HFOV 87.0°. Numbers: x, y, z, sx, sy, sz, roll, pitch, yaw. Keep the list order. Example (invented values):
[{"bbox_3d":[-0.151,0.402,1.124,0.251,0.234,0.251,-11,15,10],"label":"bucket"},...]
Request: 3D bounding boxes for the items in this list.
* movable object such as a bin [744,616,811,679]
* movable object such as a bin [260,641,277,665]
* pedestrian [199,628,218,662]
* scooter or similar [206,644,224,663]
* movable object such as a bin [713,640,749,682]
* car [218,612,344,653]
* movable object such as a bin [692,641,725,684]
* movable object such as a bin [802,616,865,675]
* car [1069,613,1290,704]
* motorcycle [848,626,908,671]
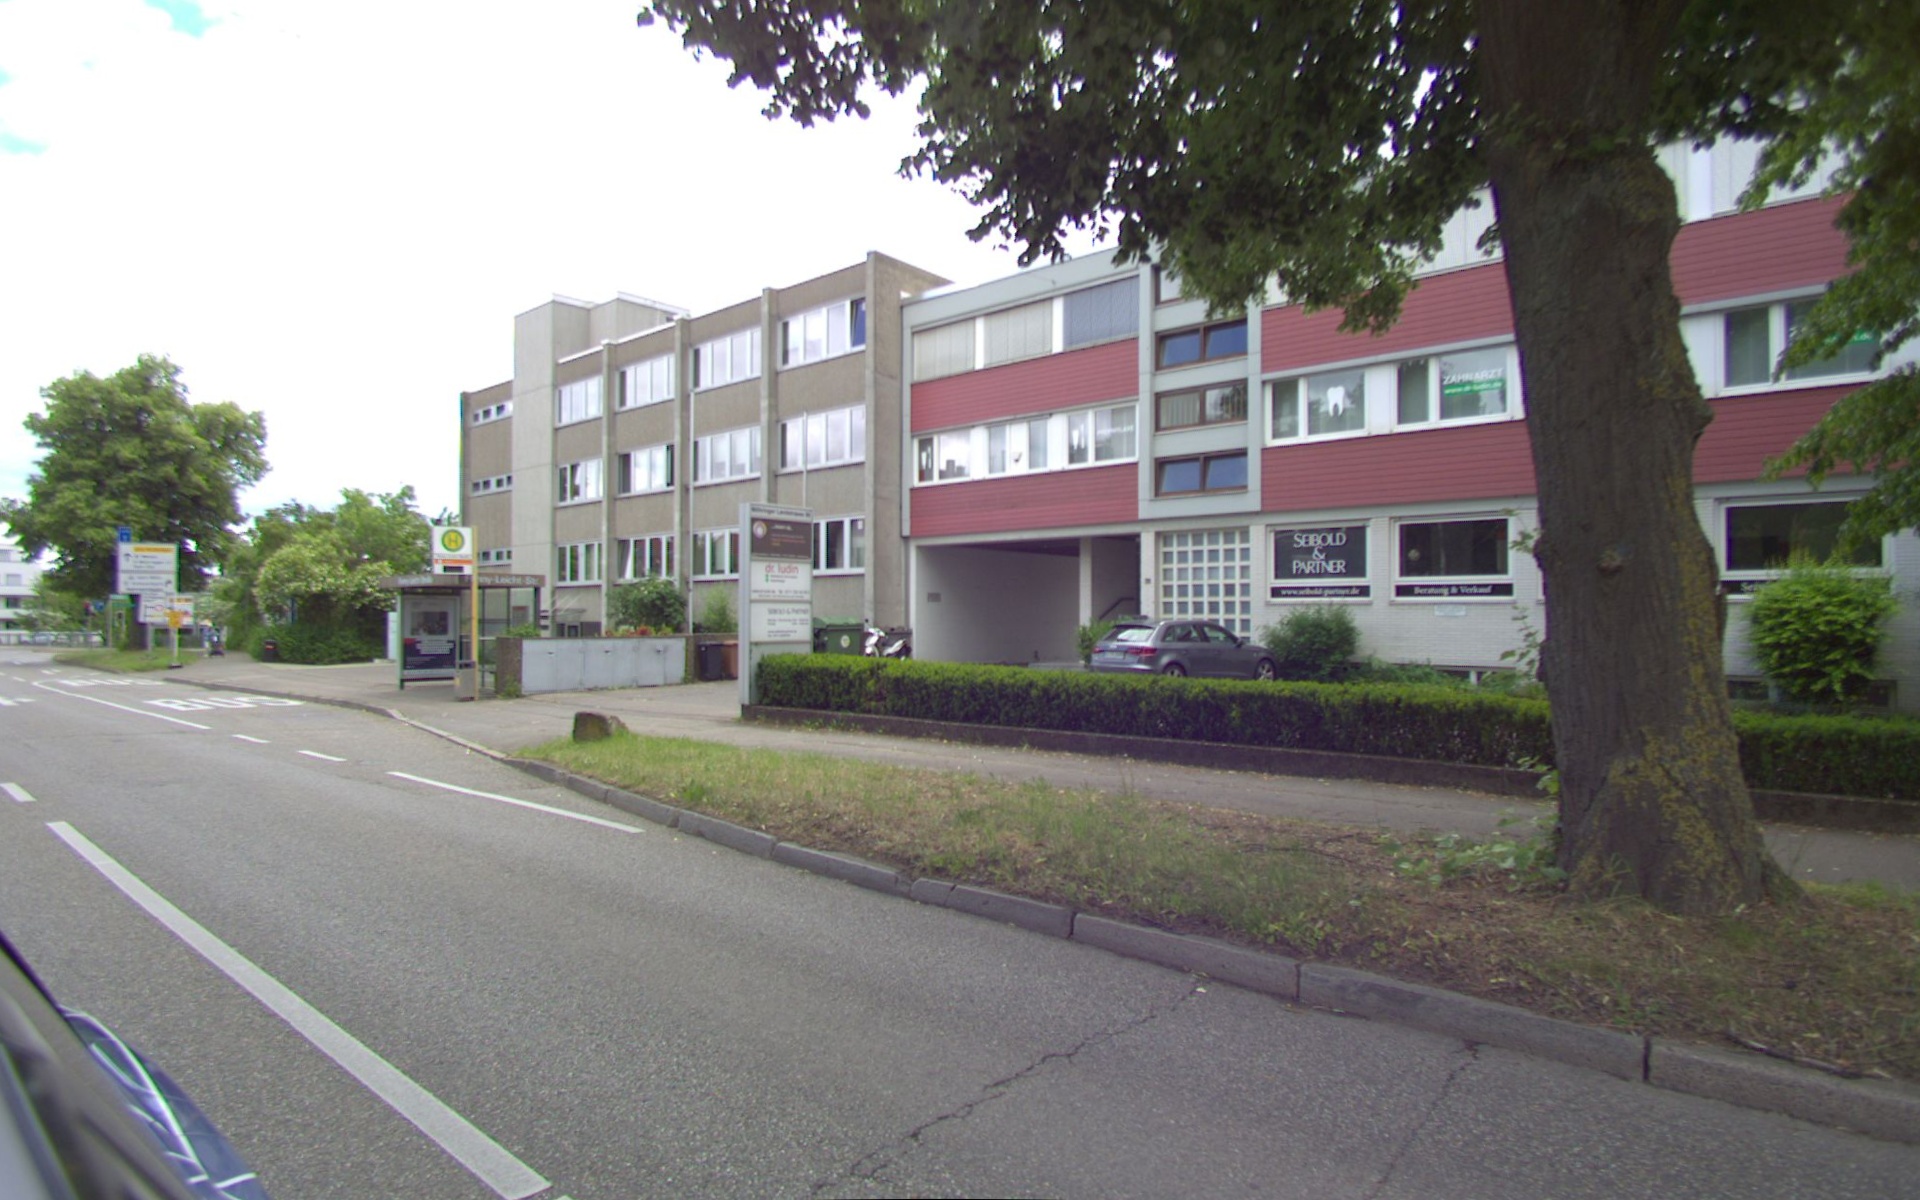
[{"bbox_3d":[-4.490,1.138,24.886,0.992,1.476,1.285,-1,0,41],"label":"movable object such as a bin"},{"bbox_3d":[-27.907,2.151,40.837,0.558,0.934,0.609,0,-1,-33],"label":"movable object such as a bin"},{"bbox_3d":[-35.123,2.089,47.292,0.662,1.570,0.521,-1,0,-32],"label":"pedestrian"},{"bbox_3d":[-34.378,2.465,46.679,0.598,0.792,0.861,-1,0,-32],"label":"scooter or similar"},{"bbox_3d":[-5.453,1.446,24.105,0.562,0.946,0.626,-1,0,41],"label":"movable object such as a bin"},{"bbox_3d":[-48.013,2.214,71.779,7.321,2.665,2.203,-1,0,-34],"label":"car"},{"bbox_3d":[-5.855,1.449,23.604,0.562,0.946,0.510,-1,0,41],"label":"movable object such as a bin"},{"bbox_3d":[-3.269,1.154,26.220,0.884,1.476,1.347,-1,0,41],"label":"movable object such as a bin"},{"bbox_3d":[4.238,1.032,19.301,4.082,1.490,1.817,-1,0,-35],"label":"car"},{"bbox_3d":[-2.215,1.311,27.551,0.639,1.148,1.624,-1,0,41],"label":"motorcycle"}]
